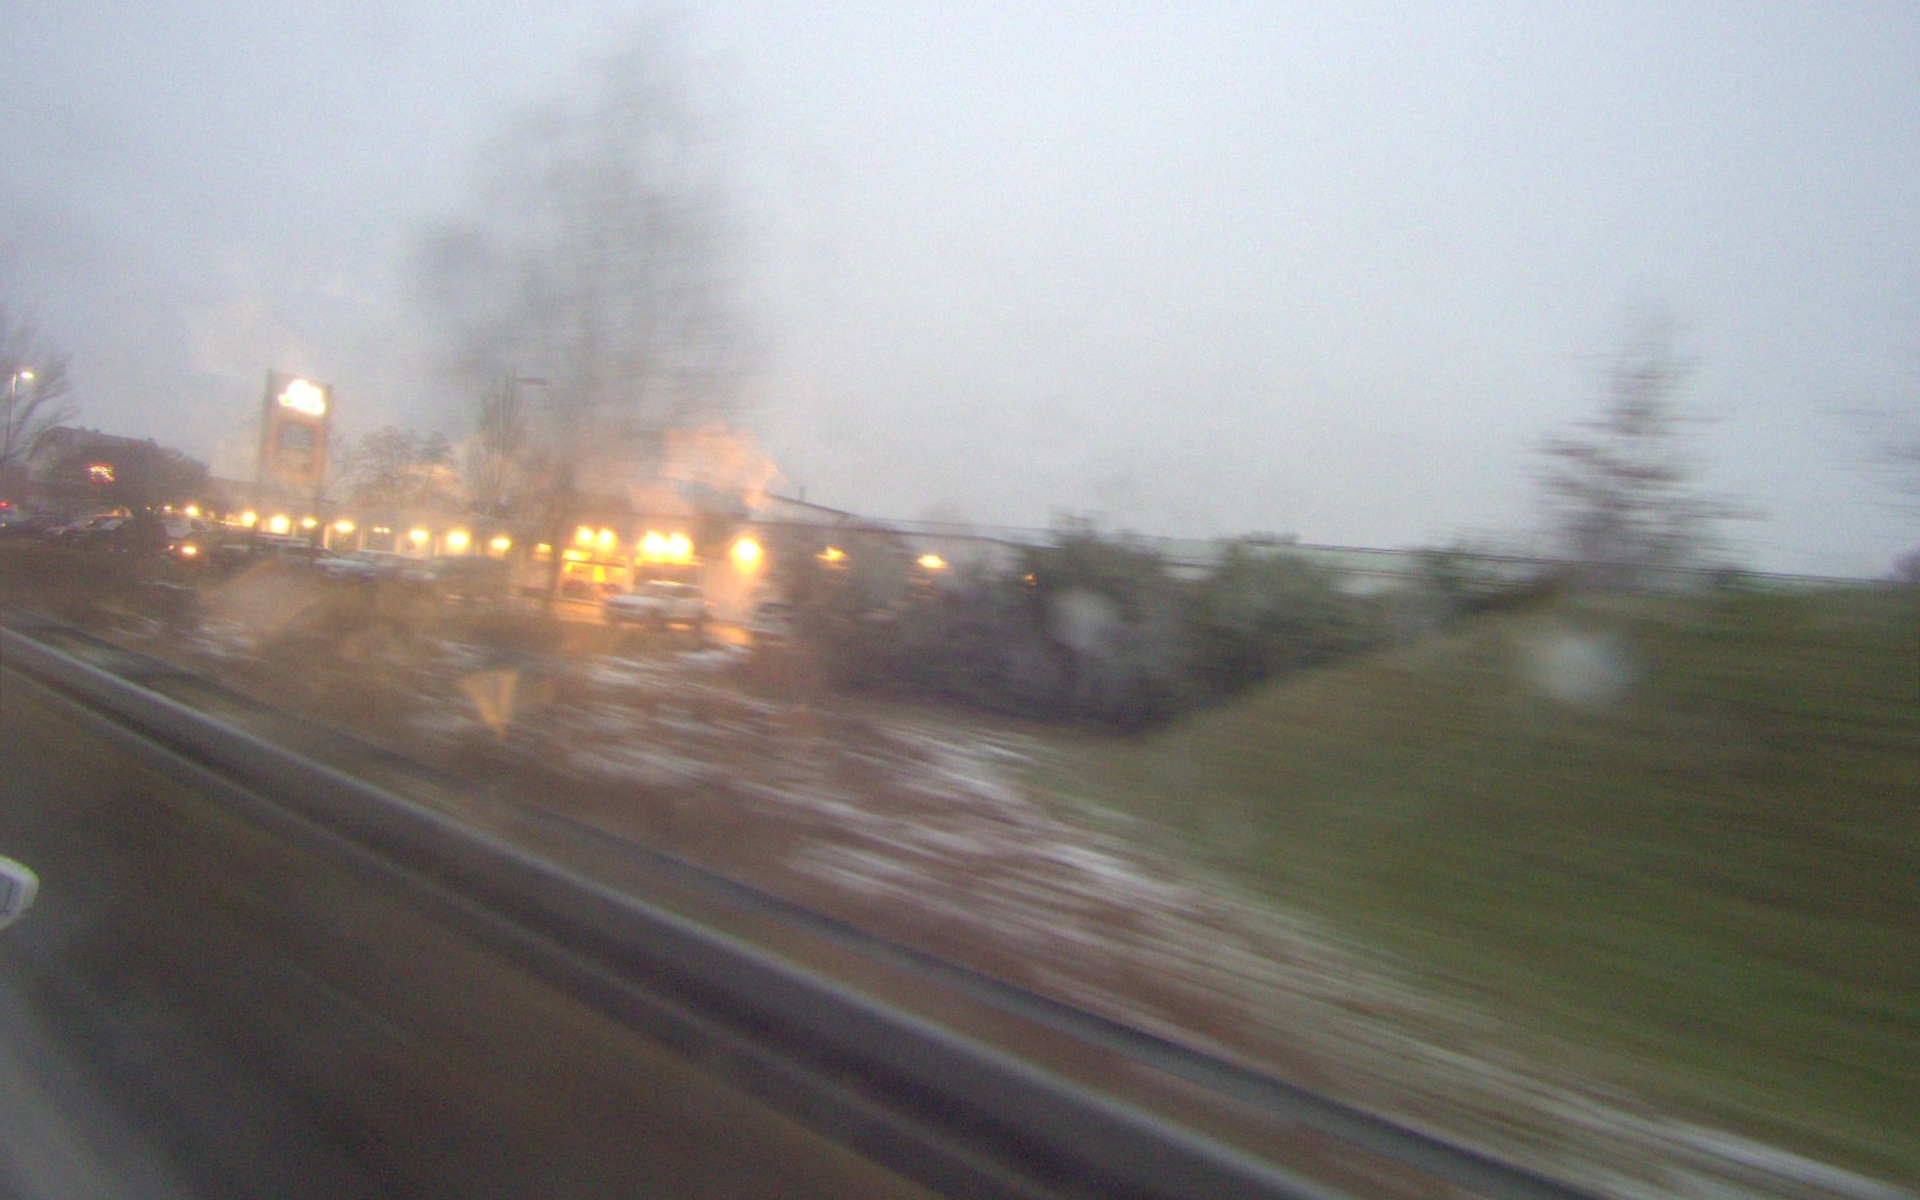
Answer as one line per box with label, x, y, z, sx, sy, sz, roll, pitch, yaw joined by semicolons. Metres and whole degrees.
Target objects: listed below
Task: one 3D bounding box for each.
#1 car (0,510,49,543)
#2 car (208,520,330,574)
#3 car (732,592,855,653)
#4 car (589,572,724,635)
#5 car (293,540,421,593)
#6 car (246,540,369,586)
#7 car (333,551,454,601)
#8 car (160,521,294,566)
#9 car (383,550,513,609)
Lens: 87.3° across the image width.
car;-48.629;-3.836;50.730;1.633;1.440;3.545;5;-2;26
car;-30.543;-2.309;44.631;1.632;1.857;4.141;5;-2;21
car;-5.424;0.789;33.391;1.963;1.536;4.191;9;0;22
car;-10.552;0.170;35.310;1.964;1.735;4.404;7;-1;25
car;-25.377;-1.366;42.537;1.963;1.649;4.263;7;-1;19
car;-27.974;-1.567;43.268;1.632;1.439;4.139;6;-1;24
car;-23.044;-0.946;41.077;1.963;1.495;3.878;7;-1;19
car;-33.080;-2.532;45.593;1.632;1.508;4.734;5;-1;20
car;-20.014;-0.763;39.538;1.963;1.877;4.260;7;0;19
